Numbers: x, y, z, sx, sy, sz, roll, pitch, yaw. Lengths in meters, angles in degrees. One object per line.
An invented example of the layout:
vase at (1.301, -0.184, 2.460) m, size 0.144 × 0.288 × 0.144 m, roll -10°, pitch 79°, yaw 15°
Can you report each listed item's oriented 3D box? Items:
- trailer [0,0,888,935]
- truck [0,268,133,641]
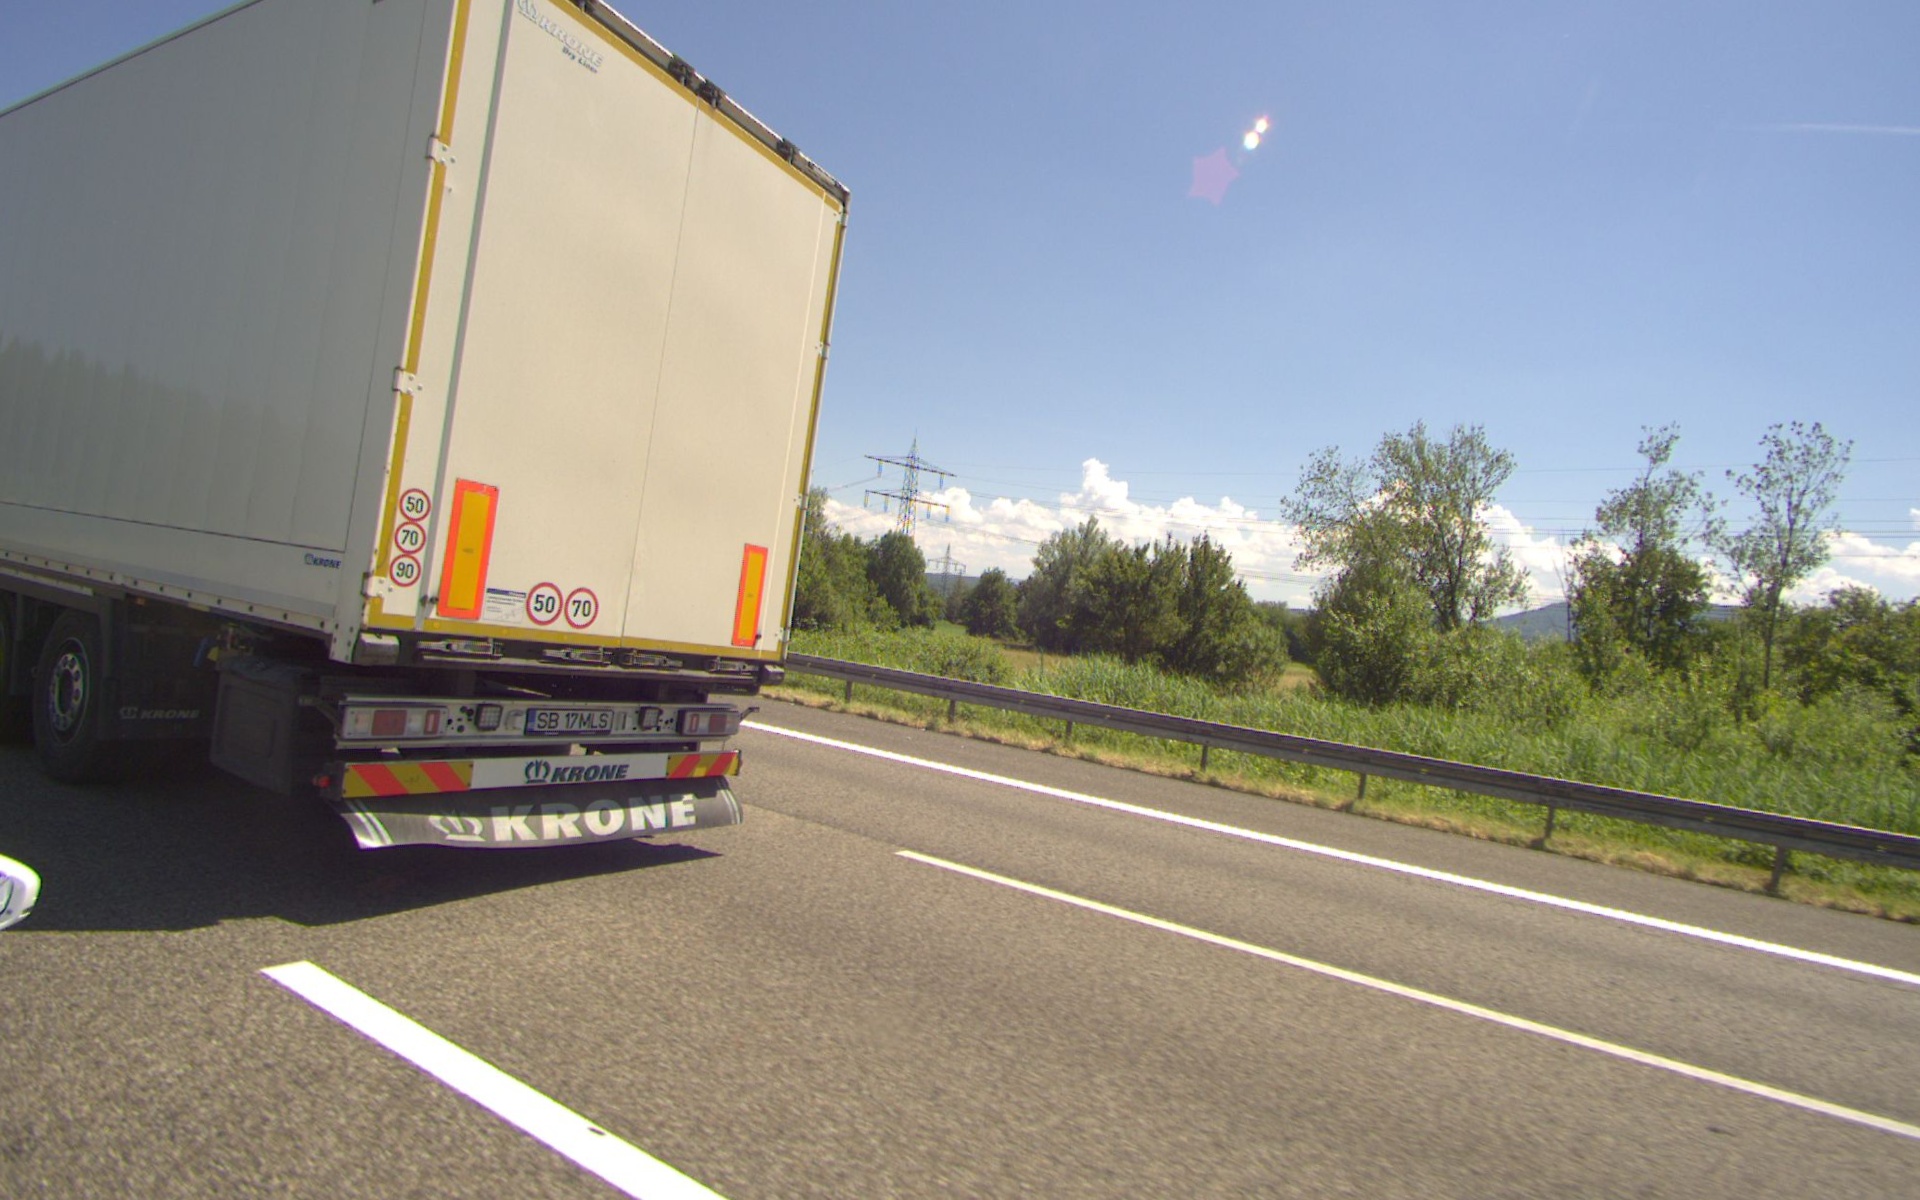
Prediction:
trailer at (-6.632, -1.211, 8.226) m, size 12.358 × 4.083 × 2.800 m, roll 6°, pitch -1°, yaw 31°
truck at (-13.385, -1.930, 12.399) m, size 5.920 × 4.054 × 2.805 m, roll 6°, pitch -1°, yaw 31°
